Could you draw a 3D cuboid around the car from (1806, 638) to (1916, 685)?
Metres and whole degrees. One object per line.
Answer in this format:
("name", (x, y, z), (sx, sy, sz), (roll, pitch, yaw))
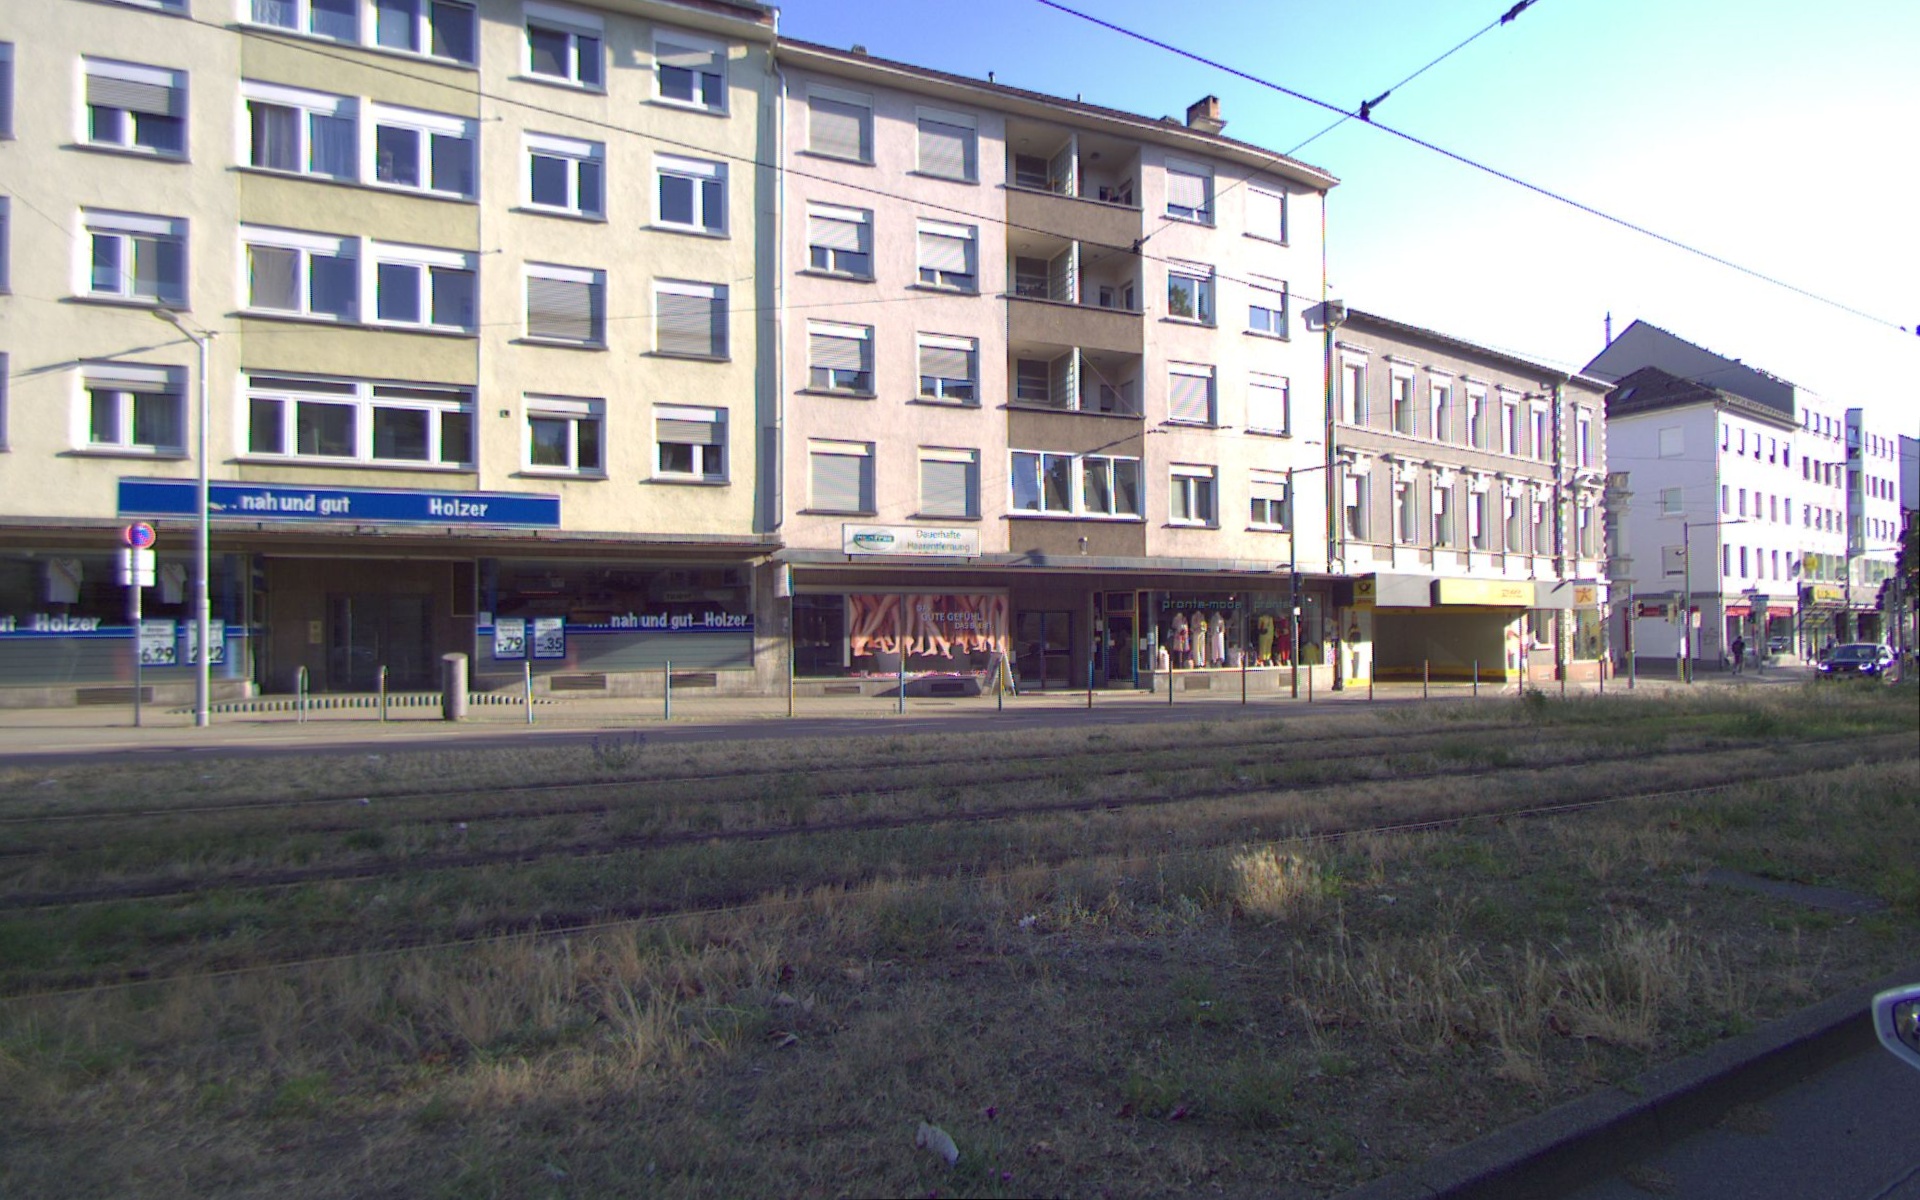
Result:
("car", (30.897, 2.111, 34.438), (3.434, 1.528, 1.716), (2, -4, -29))

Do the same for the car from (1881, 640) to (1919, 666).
("car", (54.076, 2.946, 55.353), (4.465, 1.431, 1.999), (0, -2, 24))

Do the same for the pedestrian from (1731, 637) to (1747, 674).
("pedestrian", (36.957, 2.619, 47.651), (0.501, 1.736, 0.424), (1, -2, -26))
